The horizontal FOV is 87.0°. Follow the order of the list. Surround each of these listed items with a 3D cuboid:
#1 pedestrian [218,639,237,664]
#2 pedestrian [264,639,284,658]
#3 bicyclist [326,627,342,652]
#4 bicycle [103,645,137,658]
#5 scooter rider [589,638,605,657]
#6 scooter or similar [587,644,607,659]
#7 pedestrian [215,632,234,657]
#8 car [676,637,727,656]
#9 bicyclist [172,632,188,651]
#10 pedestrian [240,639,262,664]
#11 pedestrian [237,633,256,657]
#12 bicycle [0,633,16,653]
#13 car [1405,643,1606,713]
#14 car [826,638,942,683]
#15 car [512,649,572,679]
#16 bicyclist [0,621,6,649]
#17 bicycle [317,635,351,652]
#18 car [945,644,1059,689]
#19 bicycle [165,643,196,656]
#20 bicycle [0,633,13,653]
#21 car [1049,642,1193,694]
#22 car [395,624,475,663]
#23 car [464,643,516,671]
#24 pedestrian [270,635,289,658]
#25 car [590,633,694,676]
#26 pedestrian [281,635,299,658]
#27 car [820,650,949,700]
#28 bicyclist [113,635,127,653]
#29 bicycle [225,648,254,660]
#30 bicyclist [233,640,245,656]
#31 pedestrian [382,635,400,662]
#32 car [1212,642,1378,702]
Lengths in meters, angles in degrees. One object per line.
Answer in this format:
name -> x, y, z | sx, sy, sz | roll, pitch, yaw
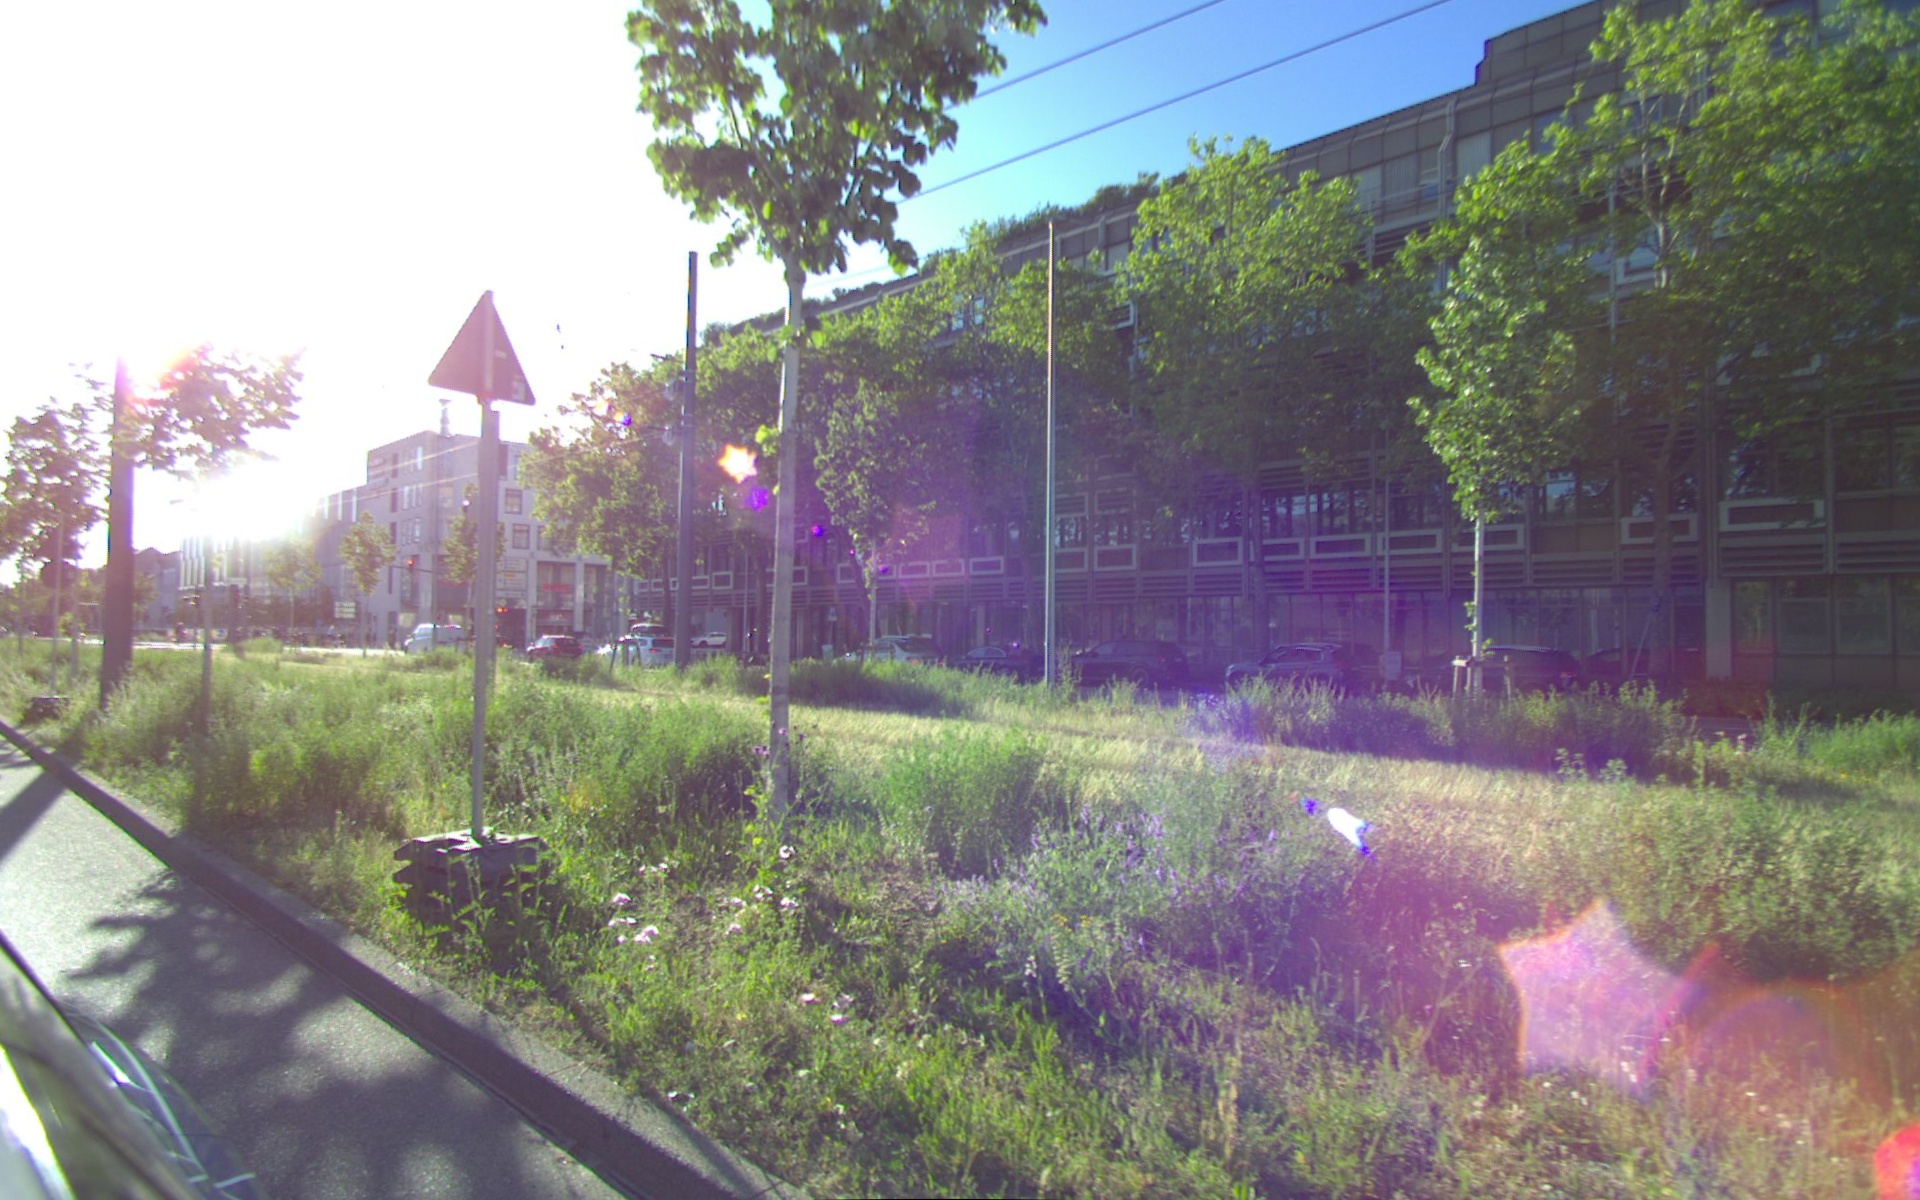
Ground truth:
pedestrian -> -62.875, 4.429, 86.835 | 0.886, 2.140, 0.946 | 0, -2, 3
pedestrian -> -59.950, 4.208, 88.433 | 0.994, 1.663, 0.948 | 0, -2, 3
bicyclist -> -41.472, 2.628, 67.054 | 0.774, 1.682, 0.702 | 3, -3, -43
bicycle -> -67.094, 4.074, 80.875 | 2.045, 0.986, 0.806 | 1, -2, -42
scooter rider -> -29.831, 3.879, 83.183 | 0.644, 1.556, 1.101 | -1, -2, 45
scooter or similar -> -29.831, 4.216, 83.170 | 0.644, 1.184, 1.462 | -1, -2, 45
pedestrian -> -63.674, 3.873, 87.657 | 0.889, 2.140, 0.943 | 0, -3, 14
car -> -25.793, 4.634, 101.078 | 4.478, 1.725, 2.129 | 3, -2, -38
bicyclist -> -64.362, 3.452, 83.530 | 0.927, 1.556, 0.649 | 2, -3, -44
pedestrian -> -61.348, 4.472, 87.584 | 1.051, 2.145, 1.095 | 0, -2, 8
pedestrian -> -62.585, 3.950, 88.761 | 0.888, 2.140, 0.944 | 0, -3, 9
bicycle -> -52.860, 2.347, 55.244 | 0.650, 1.102, 1.779 | -2, -3, 34
car -> 14.076, 1.962, 26.272 | 4.277, 1.608, 1.840 | -1, -4, 43
car -> -3.214, 2.474, 42.361 | 4.865, 1.693, 1.973 | -1, -2, 40
car -> -22.207, 3.382, 53.745 | 1.691, 1.464, 3.578 | 6, -6, -44
bicyclist -> -52.843, 1.901, 55.297 | 0.650, 1.554, 0.837 | -2, -3, 34
bicycle -> -41.479, 2.885, 67.051 | 1.773, 1.102, 0.709 | 3, -3, -44
car -> 1.528, 2.428, 37.692 | 1.970, 1.532, 4.003 | 2, -3, -44
bicycle -> -64.351, 4.067, 83.506 | 1.949, 1.004, 0.649 | 2, -3, -45
bicycle -> -53.449, 2.361, 55.729 | 0.624, 1.125, 1.794 | -2, -3, 35
car -> 5.382, 2.260, 34.277 | 4.621, 1.569, 1.726 | -1, -2, 41
car -> -29.618, 2.463, 56.955 | 5.711, 2.029, 2.233 | -2, -5, 44
car -> -27.922, 3.372, 60.026 | 1.817, 1.497, 3.887 | 6, -6, -38
pedestrian -> -60.838, 4.117, 90.453 | 0.906, 2.029, 1.021 | 0, -3, 8
car -> -12.738, 2.145, 40.370 | 4.692, 1.606, 1.820 | -2, -3, 42
pedestrian -> -60.719, 4.208, 91.715 | 0.906, 2.029, 1.021 | 0, -3, 8
car -> -2.655, 2.547, 34.754 | 4.582, 1.527, 1.739 | -1, -4, 43
bicyclist -> -67.133, 3.511, 80.875 | 0.830, 1.412, 0.806 | 1, -2, -42
bicycle -> -63.642, 4.758, 89.371 | 2.042, 0.934, 0.807 | 1, -2, -34
bicyclist -> -63.649, 4.225, 89.386 | 0.827, 1.367, 0.807 | 1, -2, -34
pedestrian -> -36.742, 3.134, 65.309 | 0.857, 1.757, 0.729 | -2, -3, 40
car -> 9.976, 2.138, 30.374 | 4.364, 1.645, 1.889 | -2, -5, 45
